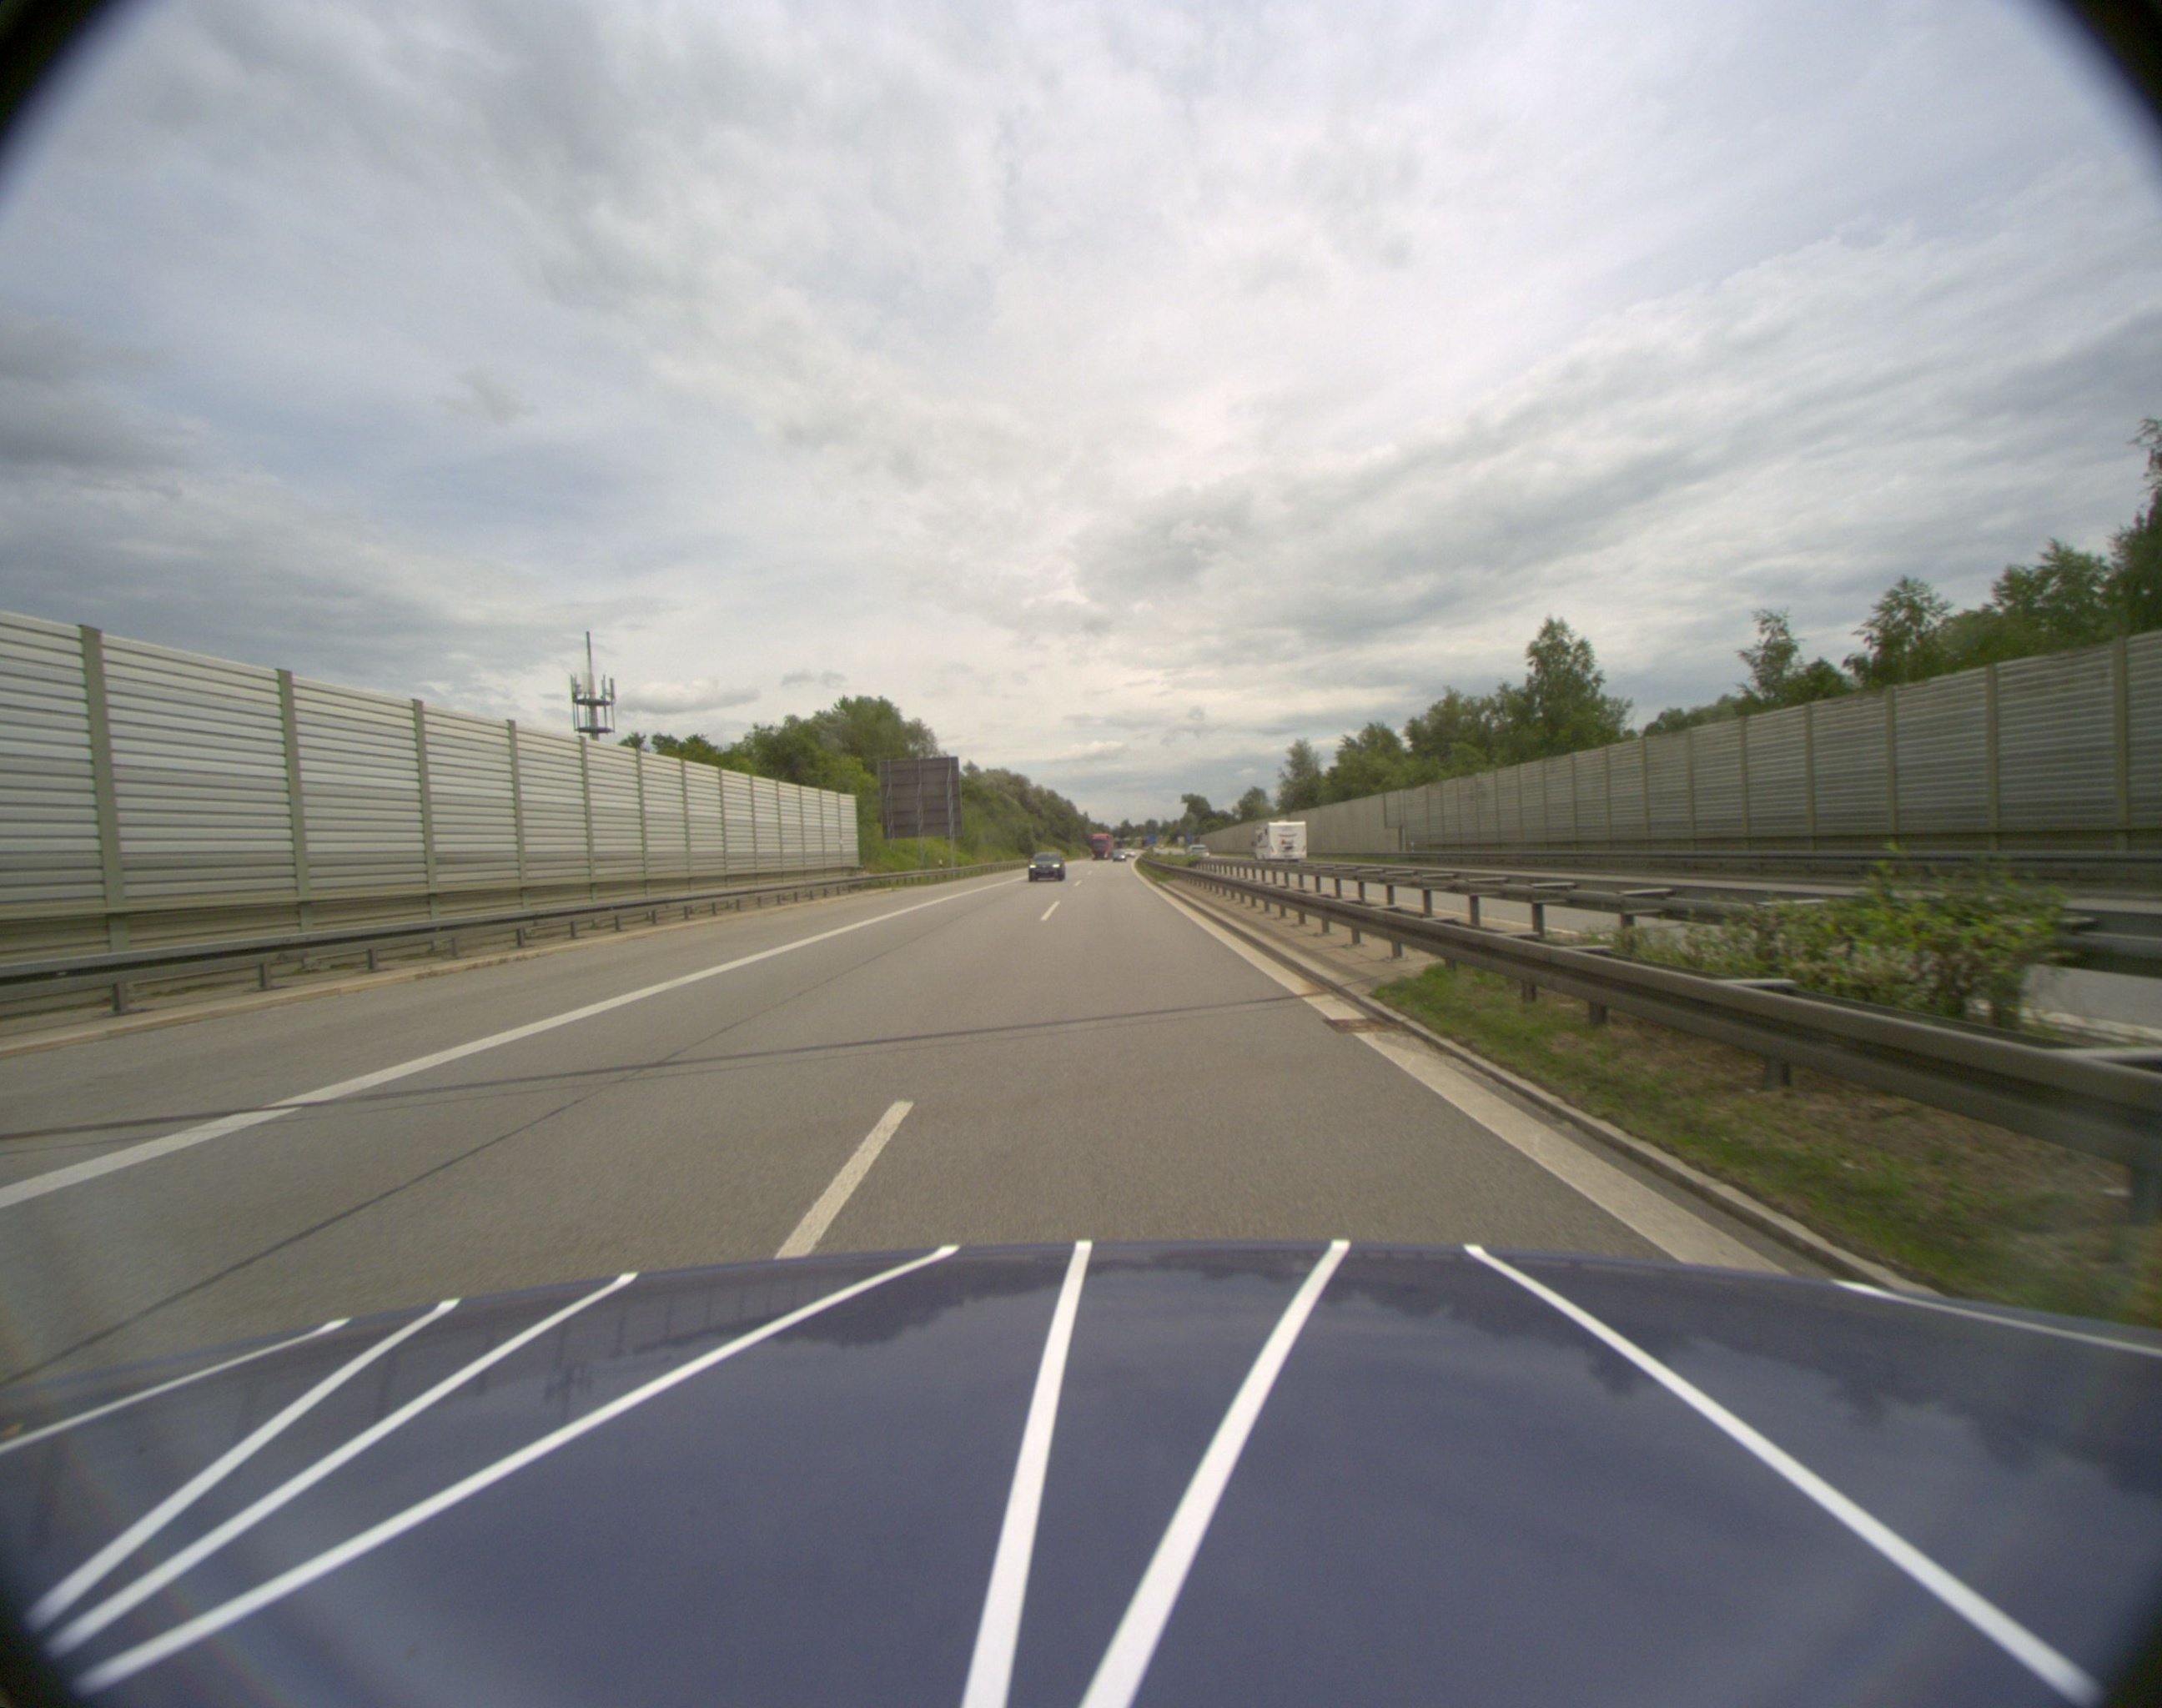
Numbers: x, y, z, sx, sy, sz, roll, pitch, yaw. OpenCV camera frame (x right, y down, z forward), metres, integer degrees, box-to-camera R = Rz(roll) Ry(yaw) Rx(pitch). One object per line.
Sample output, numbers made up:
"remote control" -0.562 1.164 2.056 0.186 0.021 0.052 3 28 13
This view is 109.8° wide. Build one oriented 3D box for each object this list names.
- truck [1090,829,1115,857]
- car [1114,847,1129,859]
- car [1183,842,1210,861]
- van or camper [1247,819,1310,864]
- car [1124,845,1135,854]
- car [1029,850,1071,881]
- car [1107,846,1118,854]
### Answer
"truck" 3.405 -1.678 119.592 2.933 4.069 11.346 -2 1 6
"car" 5.447 -0.165 101.658 1.889 1.608 4.001 -1 1 5
"car" 9.405 -0.225 62.049 1.696 1.412 4.647 -1 1 2
"van or camper" 13.528 -0.823 52.689 2.472 2.853 7.768 -1 1 2
"car" 8.848 -0.781 138.958 1.888 1.608 4.001 -1 1 6
"car" -1.679 0.579 42.565 1.889 1.608 4.001 -1 1 4
"car" 6.453 -0.780 154.689 1.888 1.608 4.001 -1 1 6
